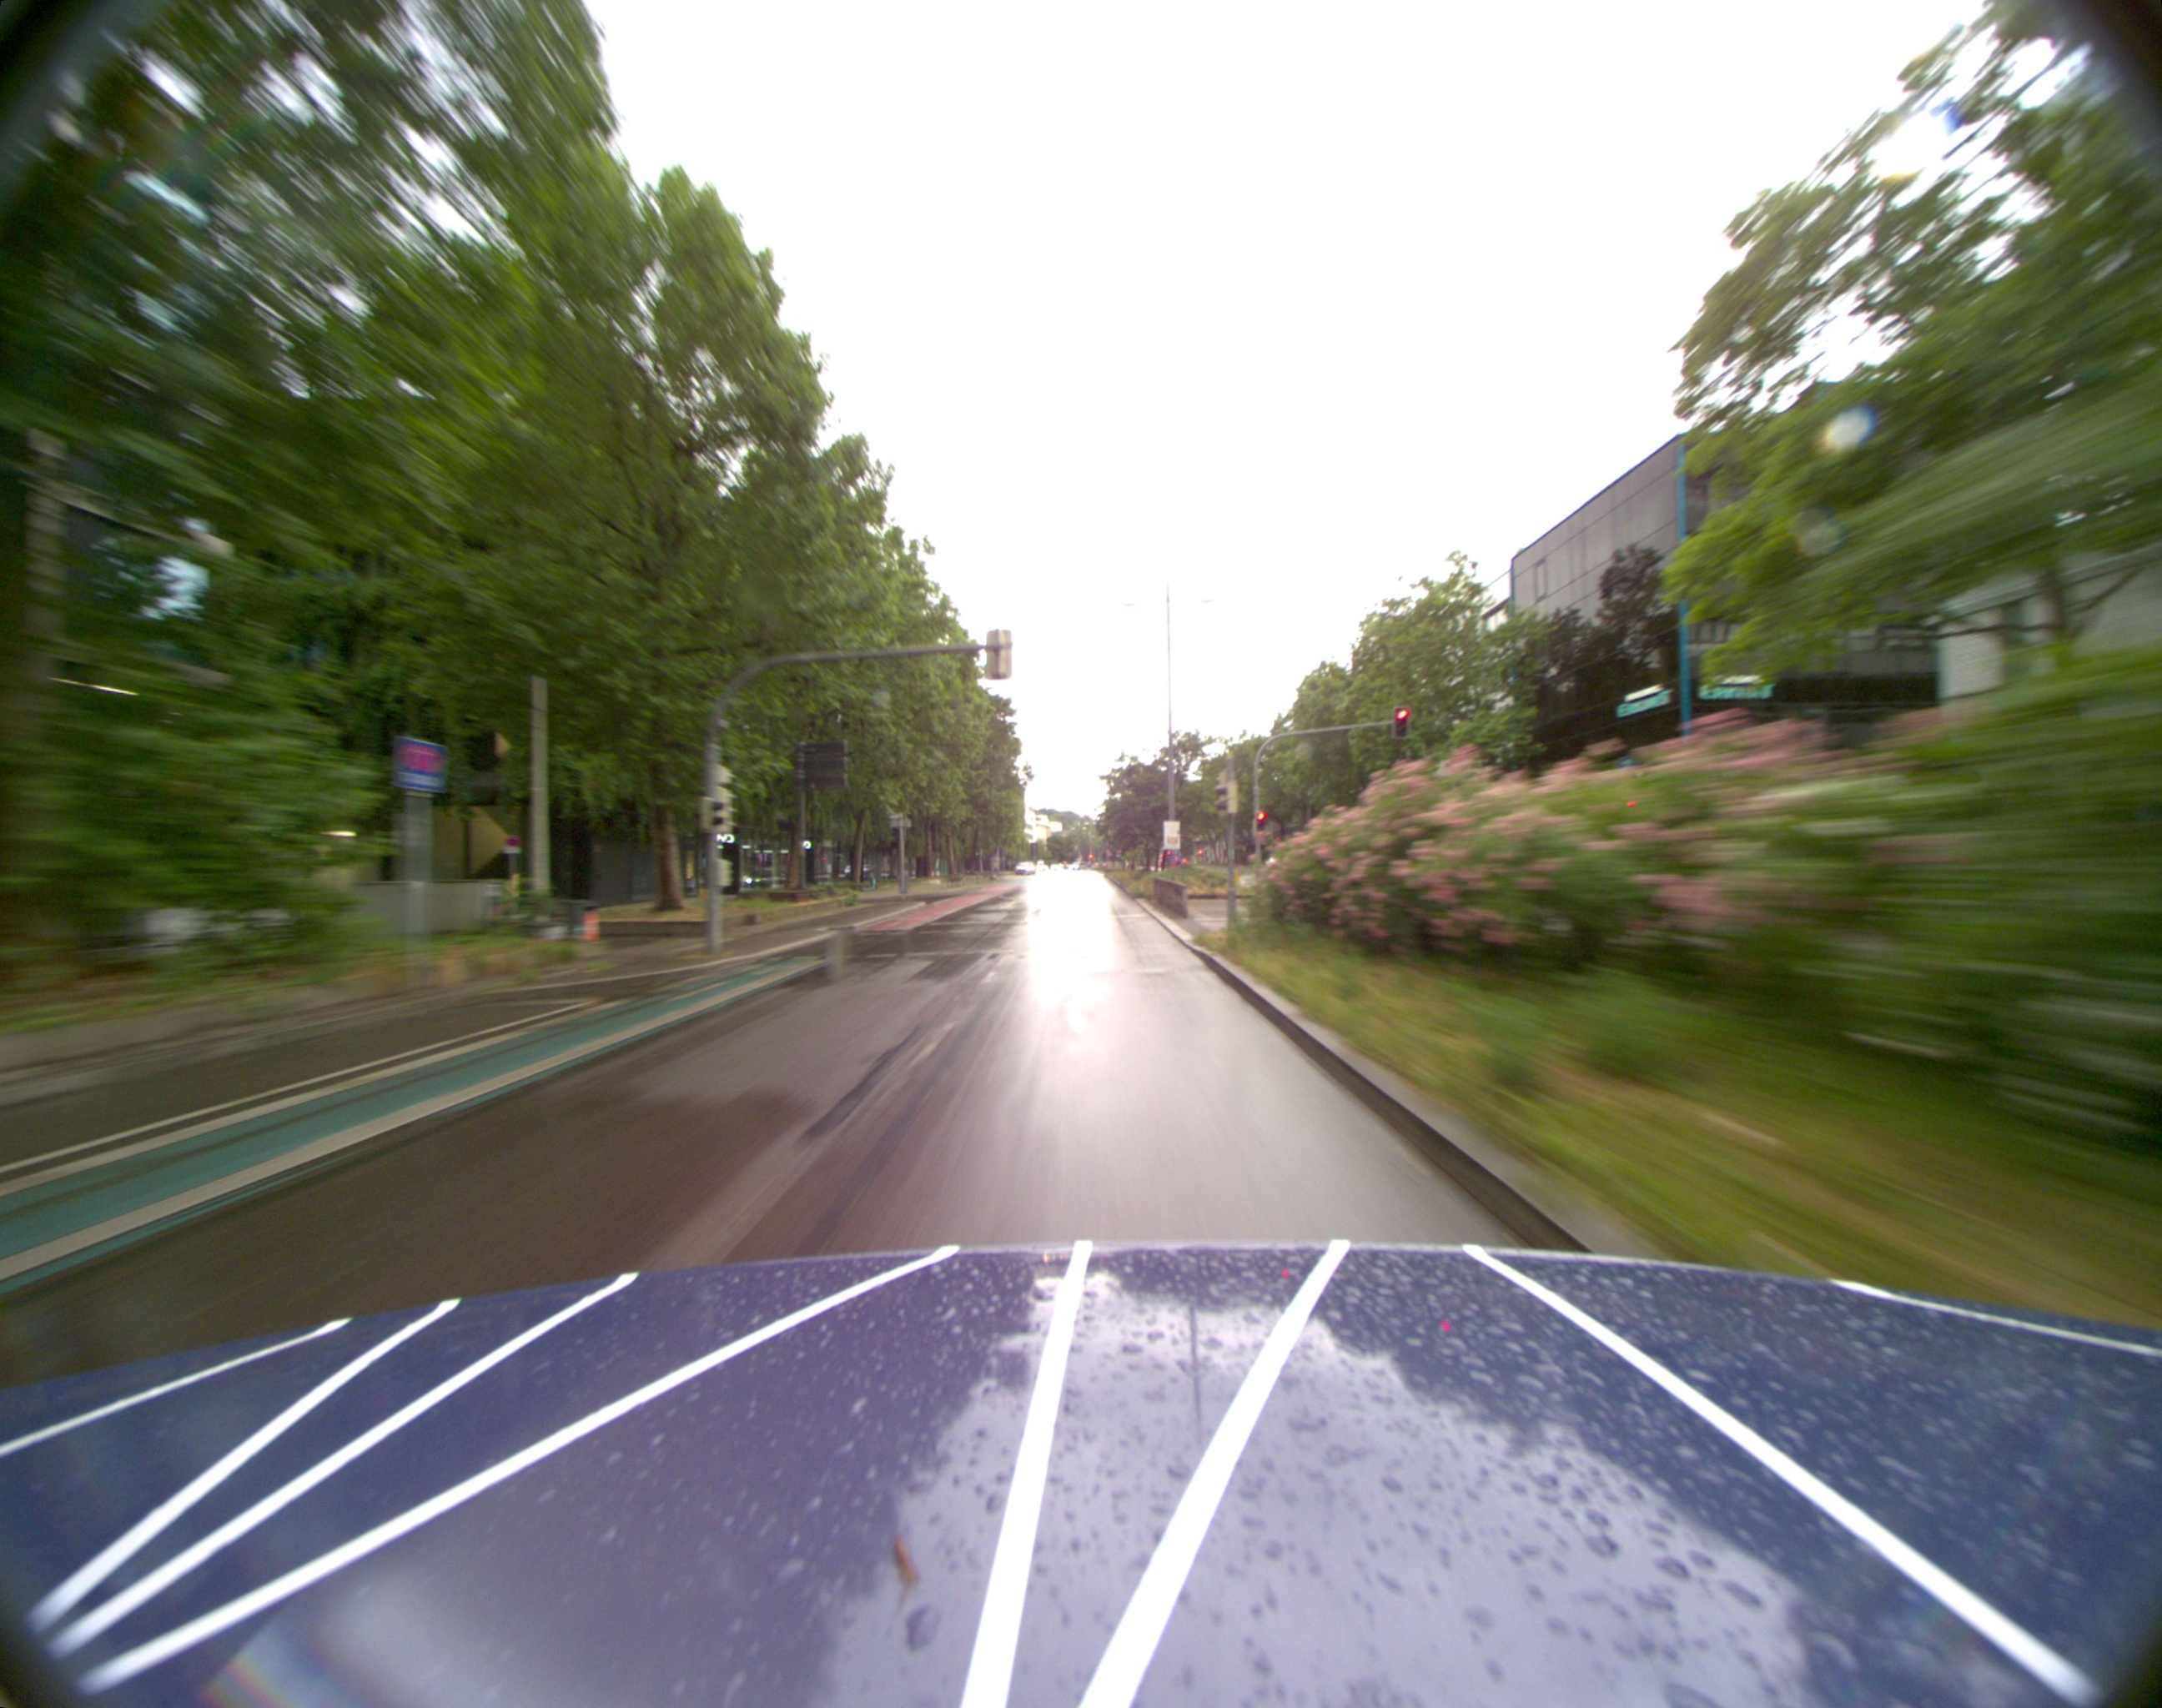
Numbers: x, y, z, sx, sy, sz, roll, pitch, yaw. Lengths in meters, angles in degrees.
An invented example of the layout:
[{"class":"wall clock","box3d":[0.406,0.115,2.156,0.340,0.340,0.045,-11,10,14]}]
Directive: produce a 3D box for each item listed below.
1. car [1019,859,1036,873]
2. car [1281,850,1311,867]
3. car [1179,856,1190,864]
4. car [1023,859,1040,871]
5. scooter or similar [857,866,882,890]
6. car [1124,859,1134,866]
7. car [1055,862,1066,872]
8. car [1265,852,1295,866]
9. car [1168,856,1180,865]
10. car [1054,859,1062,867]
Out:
[{"class":"car","box3d":[-7.289,1.579,104.397,1.932,1.726,4.598,-3,1,-1]},{"class":"car","box3d":[20.418,0.430,72.149,1.750,1.445,3.788,-3,1,1]},{"class":"car","box3d":[20.770,1.199,152.430,1.765,1.318,3.738,-3,1,1]},{"class":"car","box3d":[-7.183,1.585,110.614,2.036,1.552,4.585,-3,1,1]},{"class":"scooter or similar","box3d":[-11.860,1.336,42.679,1.187,1.274,0.535,-3,1,-40]},{"class":"car","box3d":[9.605,1.726,152.715,1.678,1.381,3.527,-3,1,-3]},{"class":"car","box3d":[-3.704,2.307,135.625,1.780,1.546,3.929,-3,1,0]},{"class":"car","box3d":[20.329,0.486,77.694,1.881,1.318,4.392,-3,1,1]},{"class":"car","box3d":[18.082,1.338,148.097,1.781,1.565,3.728,-3,1,-1]},{"class":"car","box3d":[-4.841,1.906,160.377,1.557,1.534,3.663,-3,1,0]}]
